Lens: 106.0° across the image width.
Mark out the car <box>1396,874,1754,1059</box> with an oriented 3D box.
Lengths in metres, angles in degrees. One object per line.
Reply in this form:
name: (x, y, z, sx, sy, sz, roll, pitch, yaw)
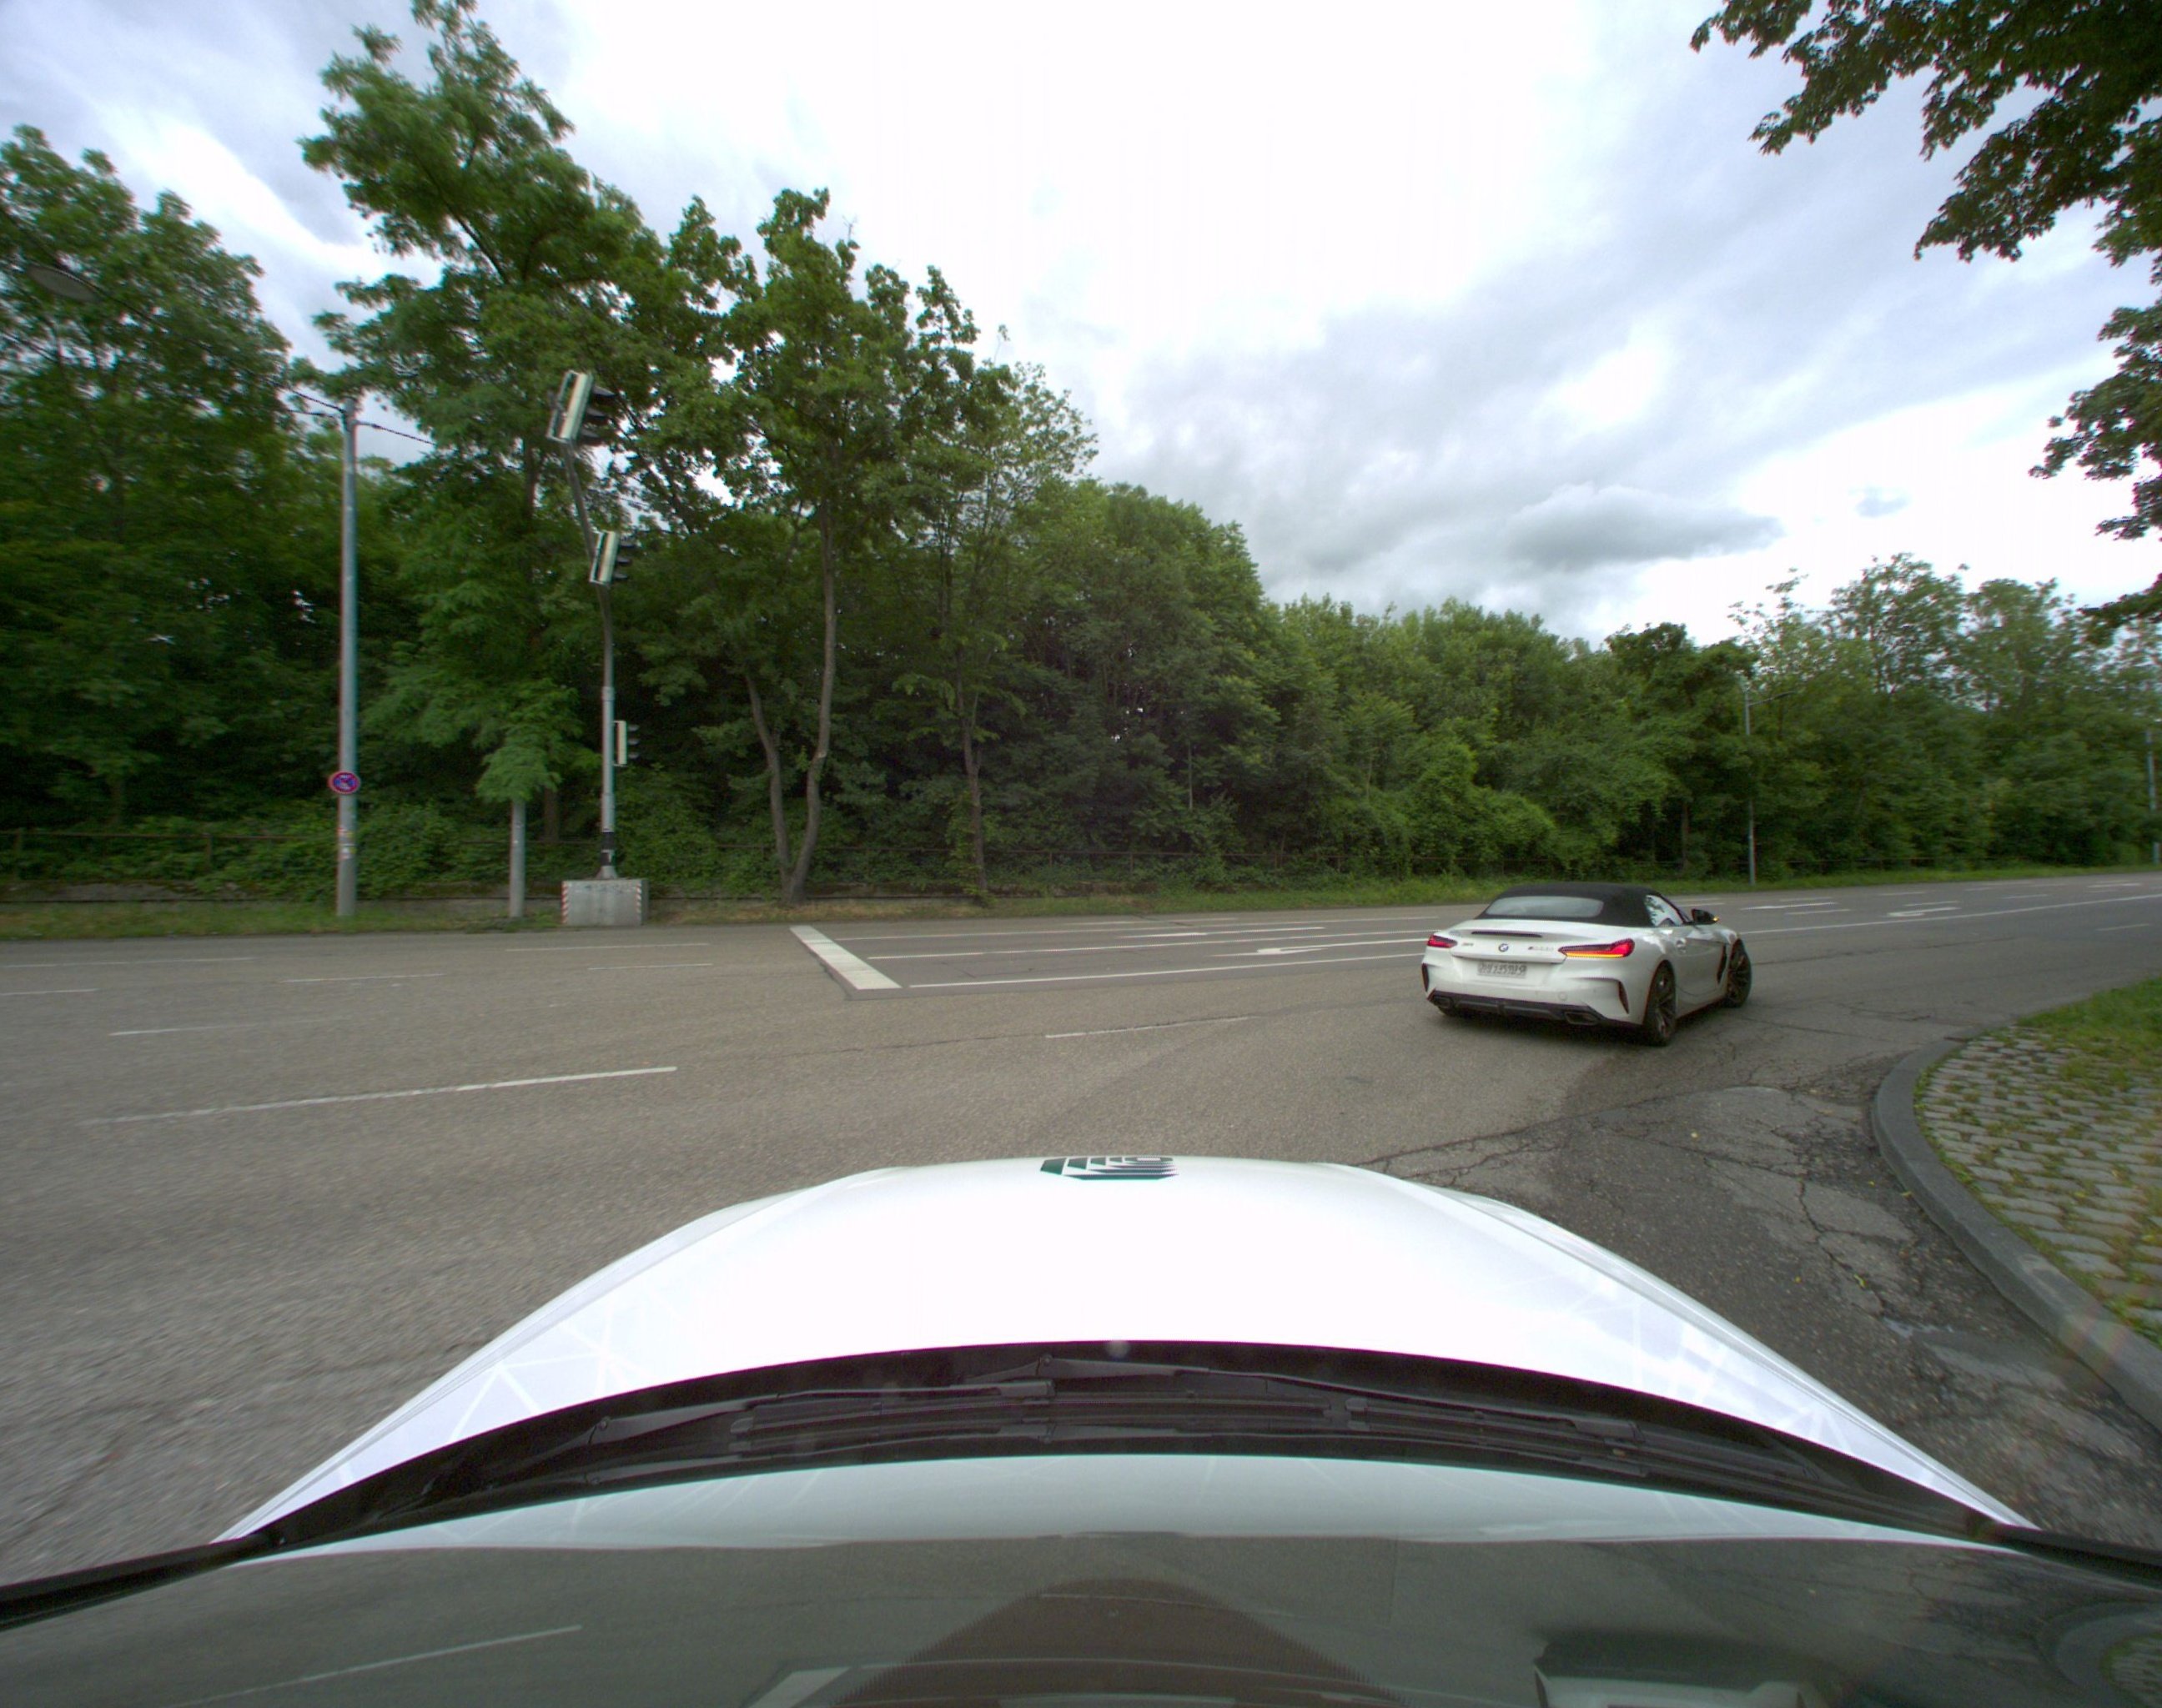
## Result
car: (4.954, 0.874, 7.971, 3.893, 1.309, 1.859, 1, -1, -40)
